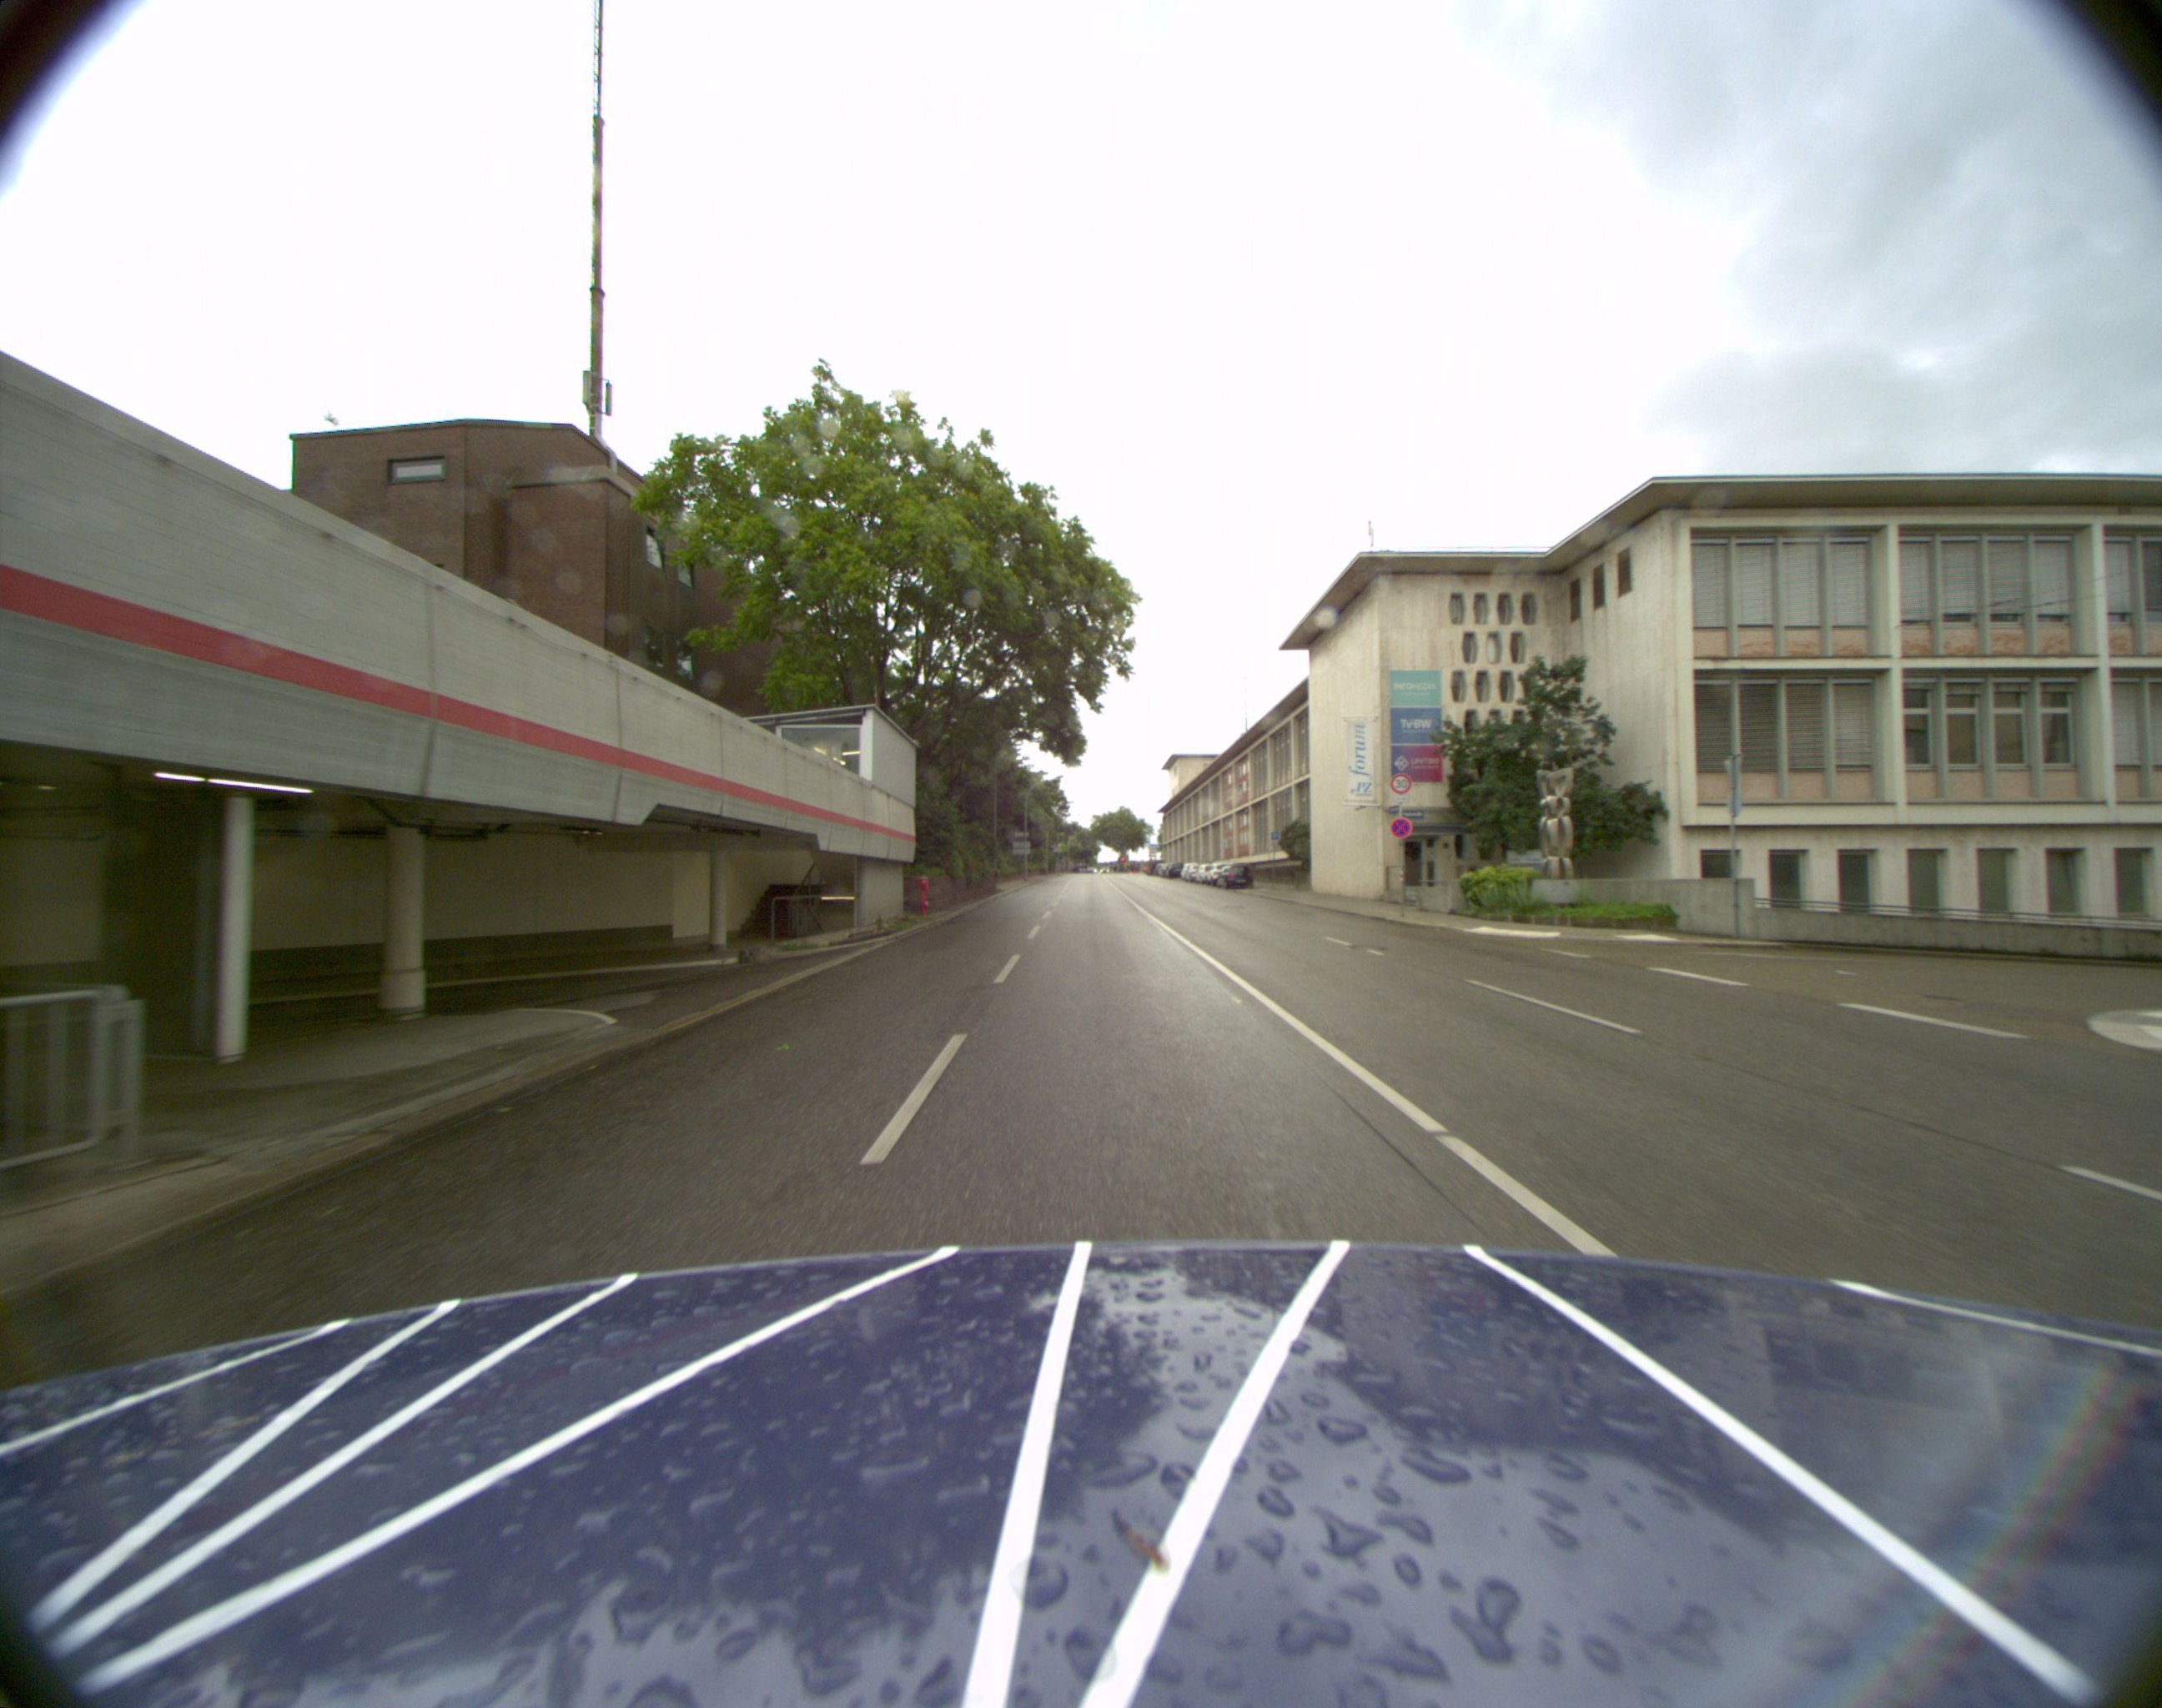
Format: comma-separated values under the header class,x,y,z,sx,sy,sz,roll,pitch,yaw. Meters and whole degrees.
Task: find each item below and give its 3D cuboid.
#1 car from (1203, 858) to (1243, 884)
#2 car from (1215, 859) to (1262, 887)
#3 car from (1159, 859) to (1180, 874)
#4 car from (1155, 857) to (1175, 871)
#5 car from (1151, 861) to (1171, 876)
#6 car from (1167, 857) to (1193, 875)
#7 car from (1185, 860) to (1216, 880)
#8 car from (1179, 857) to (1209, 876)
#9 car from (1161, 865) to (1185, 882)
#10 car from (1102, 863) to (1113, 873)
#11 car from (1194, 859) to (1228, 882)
class,x,y,z,sx,sy,sz,roll,pitch,yaw
car,9.853,1.139,53.053,1.998,1.632,3.999,-3,1,1
car,9.818,1.147,47.744,1.999,1.520,3.999,-3,1,-1
car,10.516,1.515,90.507,1.998,1.569,3.999,-3,1,0
car,10.510,1.218,94.774,1.998,1.528,3.999,-3,1,0
car,10.438,1.901,99.287,1.999,1.637,3.998,-4,2,-1
car,10.152,1.231,78.211,1.998,1.701,3.999,-3,1,0
car,9.967,1.306,63.616,1.998,1.482,4.185,-3,1,1
car,10.272,1.148,69.234,1.999,1.521,3.999,-3,1,0
car,10.110,2.116,83.884,1.999,1.724,3.999,-3,1,-1
car,5.854,3.121,169.781,1.805,2.002,3.998,-3,1,-5
car,9.920,1.223,58.225,1.998,1.503,4.000,-3,1,2
